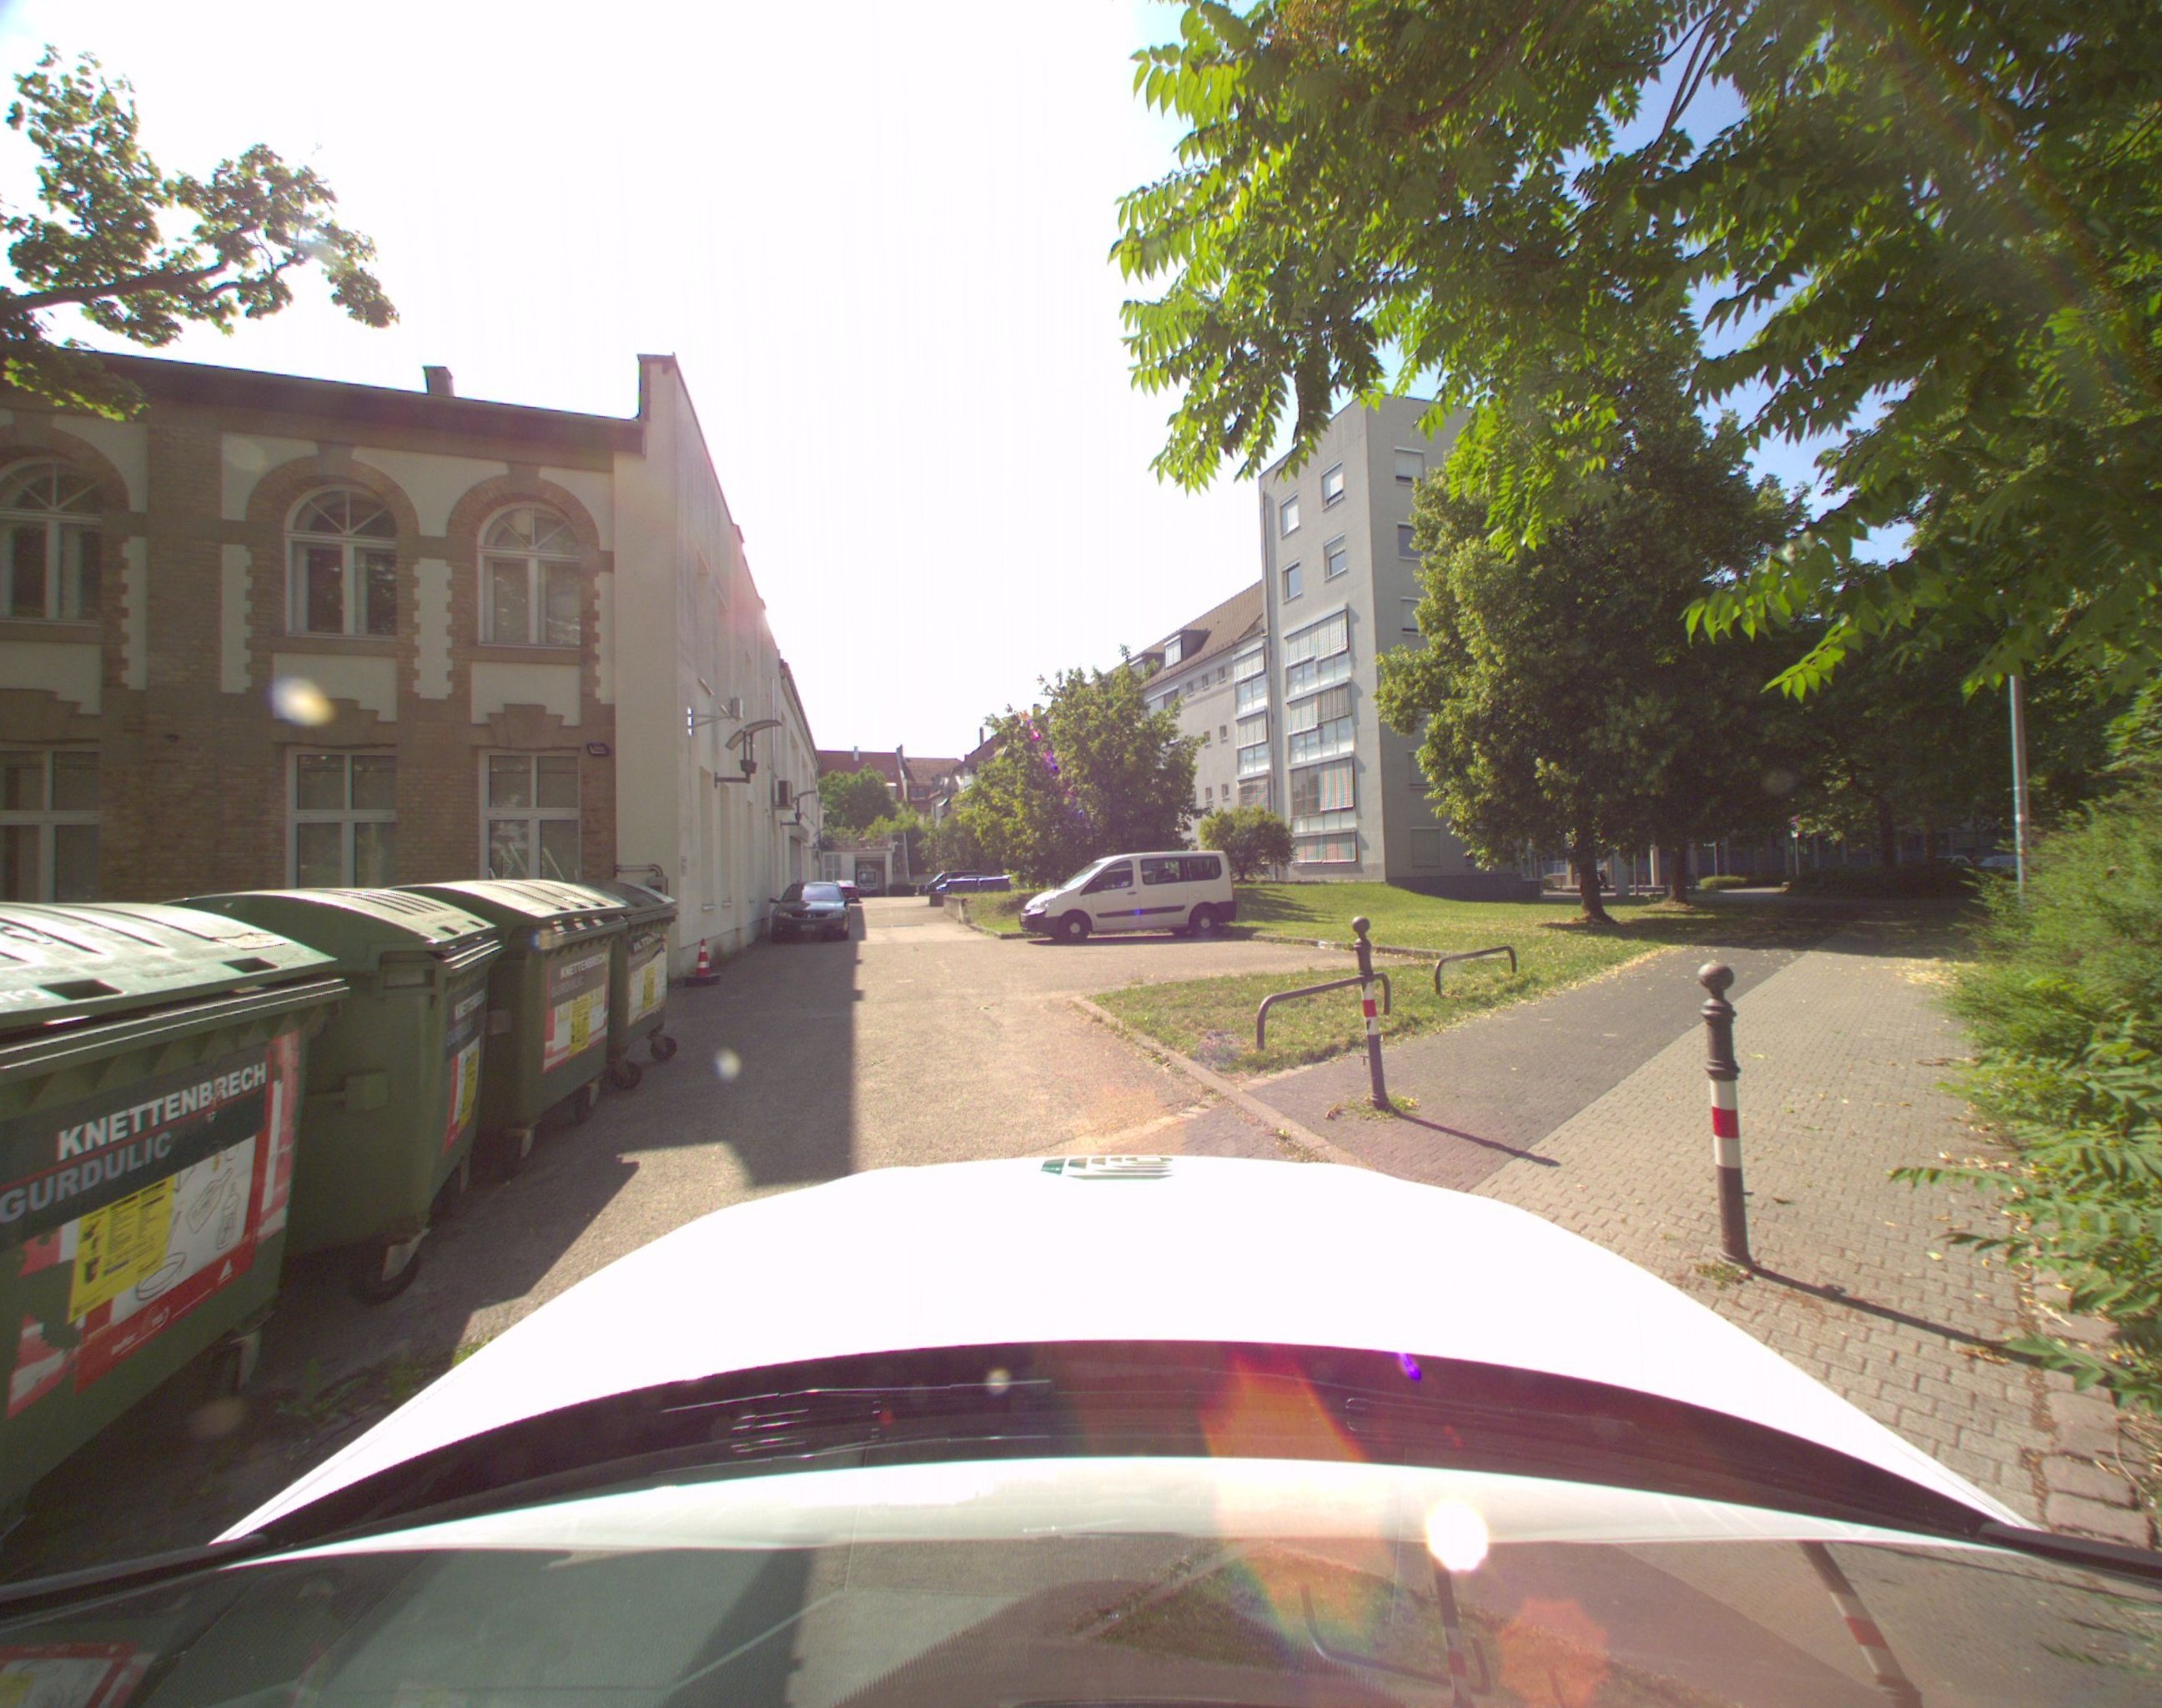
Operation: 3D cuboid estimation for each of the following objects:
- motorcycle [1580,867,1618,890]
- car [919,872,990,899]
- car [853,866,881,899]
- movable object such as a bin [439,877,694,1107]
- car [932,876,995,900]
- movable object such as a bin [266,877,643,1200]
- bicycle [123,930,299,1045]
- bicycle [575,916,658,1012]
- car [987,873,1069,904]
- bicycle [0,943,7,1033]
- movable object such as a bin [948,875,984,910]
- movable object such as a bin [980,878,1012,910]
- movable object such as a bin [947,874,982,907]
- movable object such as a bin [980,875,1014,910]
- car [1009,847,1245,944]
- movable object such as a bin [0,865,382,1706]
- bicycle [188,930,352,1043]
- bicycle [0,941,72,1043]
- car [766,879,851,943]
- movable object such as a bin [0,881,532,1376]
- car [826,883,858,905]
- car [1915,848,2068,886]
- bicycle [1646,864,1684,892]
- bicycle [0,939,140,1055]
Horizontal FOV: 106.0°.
[{"bbox_3d":[30.401,1.427,47.834,2.059,1.246,0.627,-1,-1,-15],"label":"motorcycle"},{"bbox_3d":[-9.845,2.416,63.352,4.981,1.767,2.077,-2,-1,-28],"label":"car"},{"bbox_3d":[-18.620,2.484,70.735,2.178,2.607,6.698,-2,-2,-15],"label":"car"},{"bbox_3d":[-3.685,0.905,6.035,1.247,1.431,1.342,-1,-1,-16],"label":"movable object such as a bin"},{"bbox_3d":[-8.708,2.477,60.309,4.242,1.532,1.987,-2,0,-19],"label":"car"},{"bbox_3d":[-3.329,0.869,4.573,1.247,1.431,1.358,-1,-1,-16],"label":"movable object such as a bin"},{"bbox_3d":[-9.461,1.405,8.945,0.445,0.992,1.659,-2,0,-13],"label":"bicycle"},{"bbox_3d":[-5.805,1.336,10.246,0.445,0.992,1.534,-2,0,-13],"label":"bicycle"},{"bbox_3d":[-2.816,1.827,43.412,3.999,1.427,1.800,-2,-1,-19],"label":"car"},{"bbox_3d":[-11.992,1.477,8.241,0.445,0.992,1.534,-2,0,-13],"label":"bicycle"},{"bbox_3d":[-4.667,1.557,33.026,1.249,1.319,1.136,-4,-3,-14],"label":"movable object such as a bin"},{"bbox_3d":[-3.694,1.732,35.306,1.159,1.336,1.135,-2,-2,-19],"label":"movable object such as a bin"},{"bbox_3d":[-4.997,1.565,34.903,1.251,1.355,1.121,-2,-2,-19],"label":"movable object such as a bin"},{"bbox_3d":[-3.464,1.576,33.552,1.248,1.340,1.137,-2,-1,-13],"label":"movable object such as a bin"},{"bbox_3d":[1.005,0.883,18.679,5.032,1.933,1.990,-1,-1,-15],"label":"car"},{"bbox_3d":[-2.684,0.795,1.867,1.249,1.481,1.329,-1,-2,-21],"label":"movable object such as a bin"},{"bbox_3d":[-8.984,1.417,9.106,0.445,0.992,1.678,-2,0,-13],"label":"bicycle"},{"bbox_3d":[-11.461,1.480,8.398,0.445,0.992,1.534,-2,0,-13],"label":"bicycle"},{"bbox_3d":[-6.839,1.430,20.818,1.841,1.442,4.404,0,-4,-16],"label":"car"},{"bbox_3d":[-3.029,0.844,3.223,1.251,1.431,1.213,-1,-2,-27],"label":"movable object such as a bin"},{"bbox_3d":[-15.029,2.476,51.239,1.856,1.320,3.977,0,-2,-16],"label":"car"},{"bbox_3d":[43.225,0.616,38.803,1.996,1.640,4.417,-2,0,-13],"label":"car"},{"bbox_3d":[22.447,0.925,31.287,1.449,1.049,0.392,-1,-1,-19],"label":"bicycle"},{"bbox_3d":[-10.884,1.474,8.567,0.445,0.992,1.534,-2,0,-13],"label":"bicycle"}]
